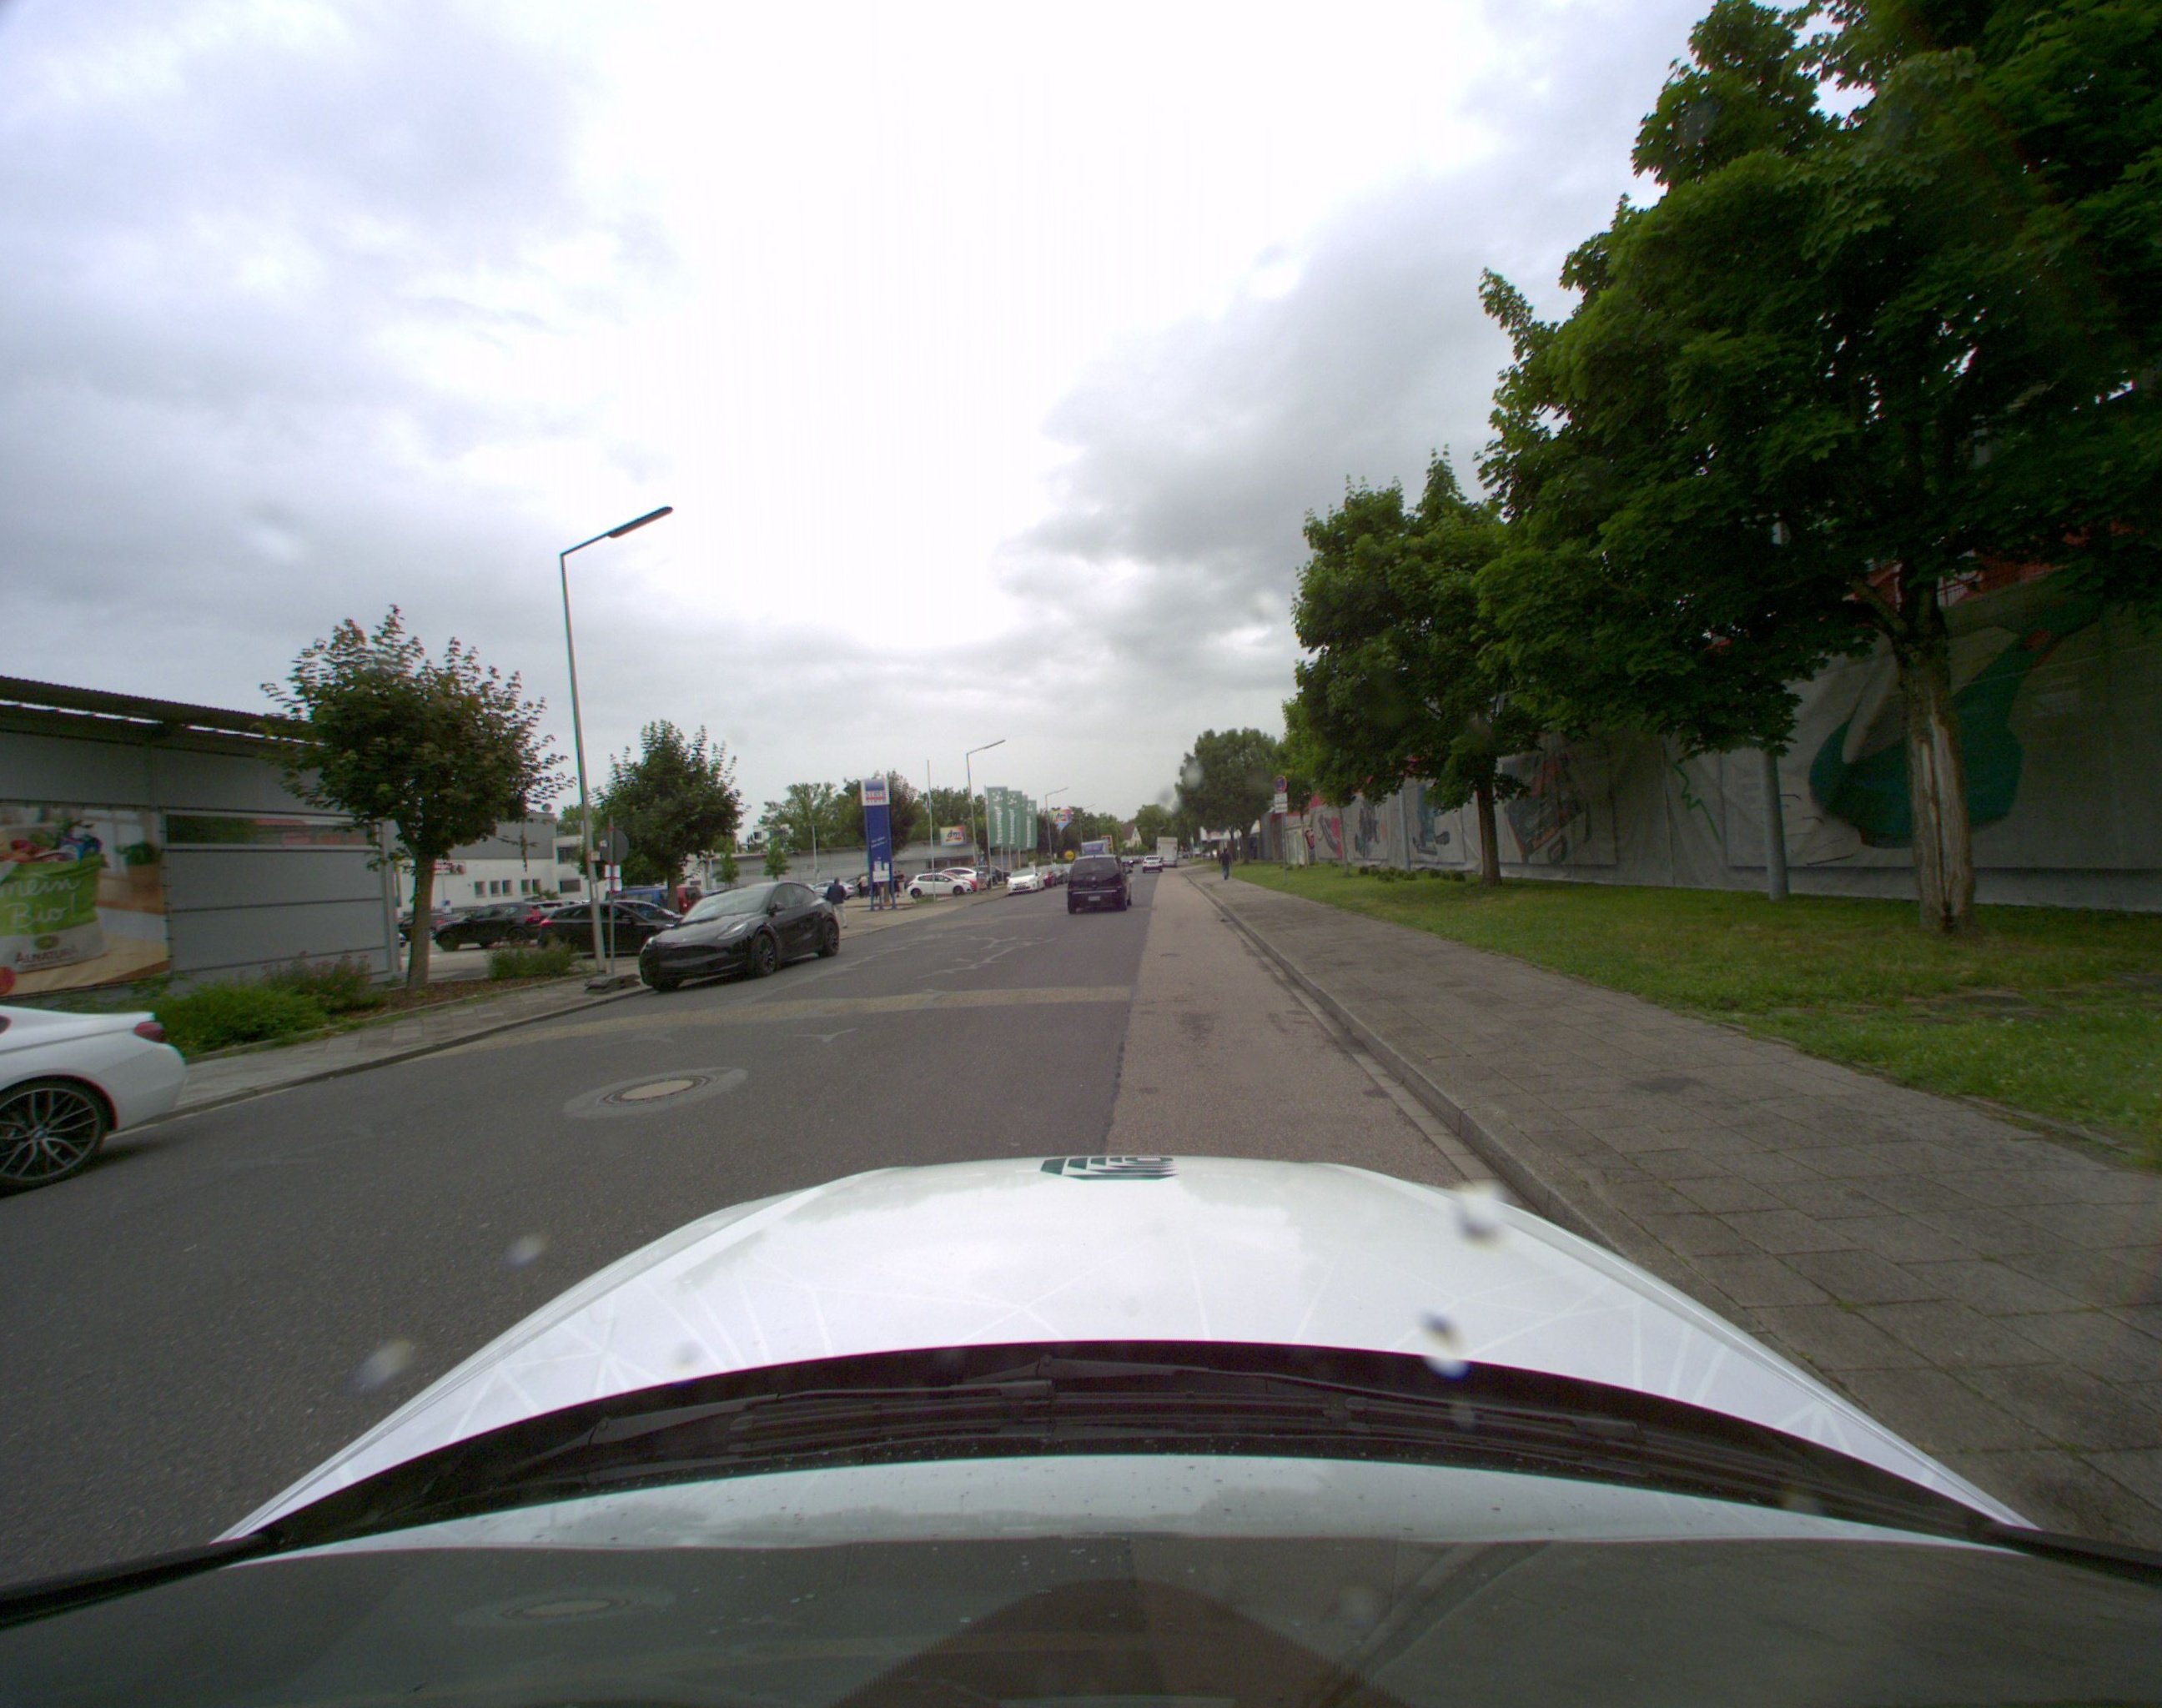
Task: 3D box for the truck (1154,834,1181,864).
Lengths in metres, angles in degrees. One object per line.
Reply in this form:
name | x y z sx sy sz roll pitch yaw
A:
truck | 11.188 -0.508 106.173 3.120 3.585 10.063 -3 -1 5

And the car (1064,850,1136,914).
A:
car | 0.649 0.777 24.262 1.672 1.632 3.766 -5 -1 7

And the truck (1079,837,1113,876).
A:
truck | 1.758 0.300 92.656 2.958 3.955 6.416 -6 -1 6

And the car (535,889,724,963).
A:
car | -11.841 1.866 21.505 3.854 1.620 1.931 -3 -1 6

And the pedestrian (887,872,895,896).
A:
pedestrian | -12.740 1.993 54.600 0.358 1.570 0.503 -4 -1 -5

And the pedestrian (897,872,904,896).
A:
pedestrian | -12.138 2.018 54.659 0.329 1.570 0.503 -3 -1 -6

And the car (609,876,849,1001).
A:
car | -5.998 1.350 14.596 1.938 1.526 4.408 -9 -1 4

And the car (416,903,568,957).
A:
car | -21.299 2.708 29.639 4.000 1.485 1.864 -4 -1 -19

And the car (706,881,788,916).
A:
car | -19.766 2.613 48.309 3.967 1.669 1.879 -5 -1 5

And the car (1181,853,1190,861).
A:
car | 25.663 0.753 200.224 1.877 1.683 4.262 -2 0 7

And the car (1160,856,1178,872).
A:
car | 10.435 1.194 97.034 1.984 1.806 4.005 -3 -1 5

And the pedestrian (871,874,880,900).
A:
pedestrian | -13.637 2.188 53.947 0.455 1.642 0.373 -4 -1 -12

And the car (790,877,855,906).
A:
car | -18.894 2.732 59.523 3.967 1.669 1.879 -5 -1 5

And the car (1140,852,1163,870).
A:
car | 6.430 0.636 73.901 1.877 1.532 4.262 -2 0 7

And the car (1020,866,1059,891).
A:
car | -2.682 1.576 53.676 1.888 1.367 4.007 -4 -1 6

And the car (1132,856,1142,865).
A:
car | 11.003 1.286 159.857 1.861 1.662 4.004 -4 -1 4

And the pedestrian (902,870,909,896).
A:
pedestrian | -11.746 1.911 54.430 0.262 1.730 0.421 -4 -1 -7

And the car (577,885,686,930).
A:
car | -21.102 2.507 38.320 3.967 1.669 1.879 -5 -1 5

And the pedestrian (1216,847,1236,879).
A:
pedestrian | 7.553 0.459 42.356 0.914 1.635 0.854 -3 -1 7

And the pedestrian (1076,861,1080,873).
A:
pedestrian | -0.412 1.636 103.301 0.400 1.531 0.485 -5 -1 -1

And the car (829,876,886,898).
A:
car | -18.147 2.668 66.080 3.966 1.492 1.789 -5 -1 6

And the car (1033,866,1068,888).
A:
car | -2.149 1.641 59.152 1.888 1.367 4.007 -4 -1 6

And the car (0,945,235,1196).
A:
car | -7.449 1.488 3.882 1.691 1.367 4.524 -9 -1 5

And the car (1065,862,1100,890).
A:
car | 0.141 1.298 49.524 1.591 1.528 3.534 -6 -1 6

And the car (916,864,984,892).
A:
car | -8.807 1.606 54.896 4.122 1.463 1.898 -5 -1 0

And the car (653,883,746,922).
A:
car | -20.147 2.547 43.092 3.967 1.669 1.879 -5 -1 5

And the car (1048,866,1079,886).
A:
car | -1.384 1.703 65.161 1.888 1.367 4.007 -4 -1 6

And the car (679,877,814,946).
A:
car | -11.773 1.981 28.858 3.919 2.013 1.760 -5 -1 -2

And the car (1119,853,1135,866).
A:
car | 6.454 0.718 113.386 1.984 1.684 4.005 -3 -1 5

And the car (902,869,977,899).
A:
car | -8.626 1.841 49.909 4.192 1.463 1.951 -4 -1 -2

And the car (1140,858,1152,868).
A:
car | 10.667 1.490 133.490 1.928 1.367 4.006 -5 -1 5

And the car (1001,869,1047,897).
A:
car | -3.221 1.643 47.159 1.888 1.367 4.007 -4 -1 6

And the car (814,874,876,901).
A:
car | -17.881 2.557 61.864 3.967 1.669 1.879 -5 -1 5

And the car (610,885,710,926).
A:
car | -21.016 2.550 40.740 3.967 1.669 1.879 -5 -1 5

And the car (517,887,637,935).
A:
car | -21.899 2.478 35.471 3.967 1.669 1.879 -5 -1 5

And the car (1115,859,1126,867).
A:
car | 6.910 1.583 141.753 1.615 1.375 3.457 -3 -1 5

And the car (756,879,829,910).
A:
car | -18.849 2.638 53.317 3.967 1.669 1.879 -5 -1 5

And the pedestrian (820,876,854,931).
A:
pedestrian | -7.960 1.594 26.591 0.772 1.715 0.697 -4 -1 1

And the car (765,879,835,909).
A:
car | -19.141 2.703 55.574 3.967 1.669 1.879 -5 -1 5

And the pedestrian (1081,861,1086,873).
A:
pedestrian | 0.301 1.609 100.218 0.400 1.531 0.485 -5 -1 0

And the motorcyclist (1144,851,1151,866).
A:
motorcyclist | 7.044 0.471 86.426 0.621 1.554 0.605 -5 -1 7
